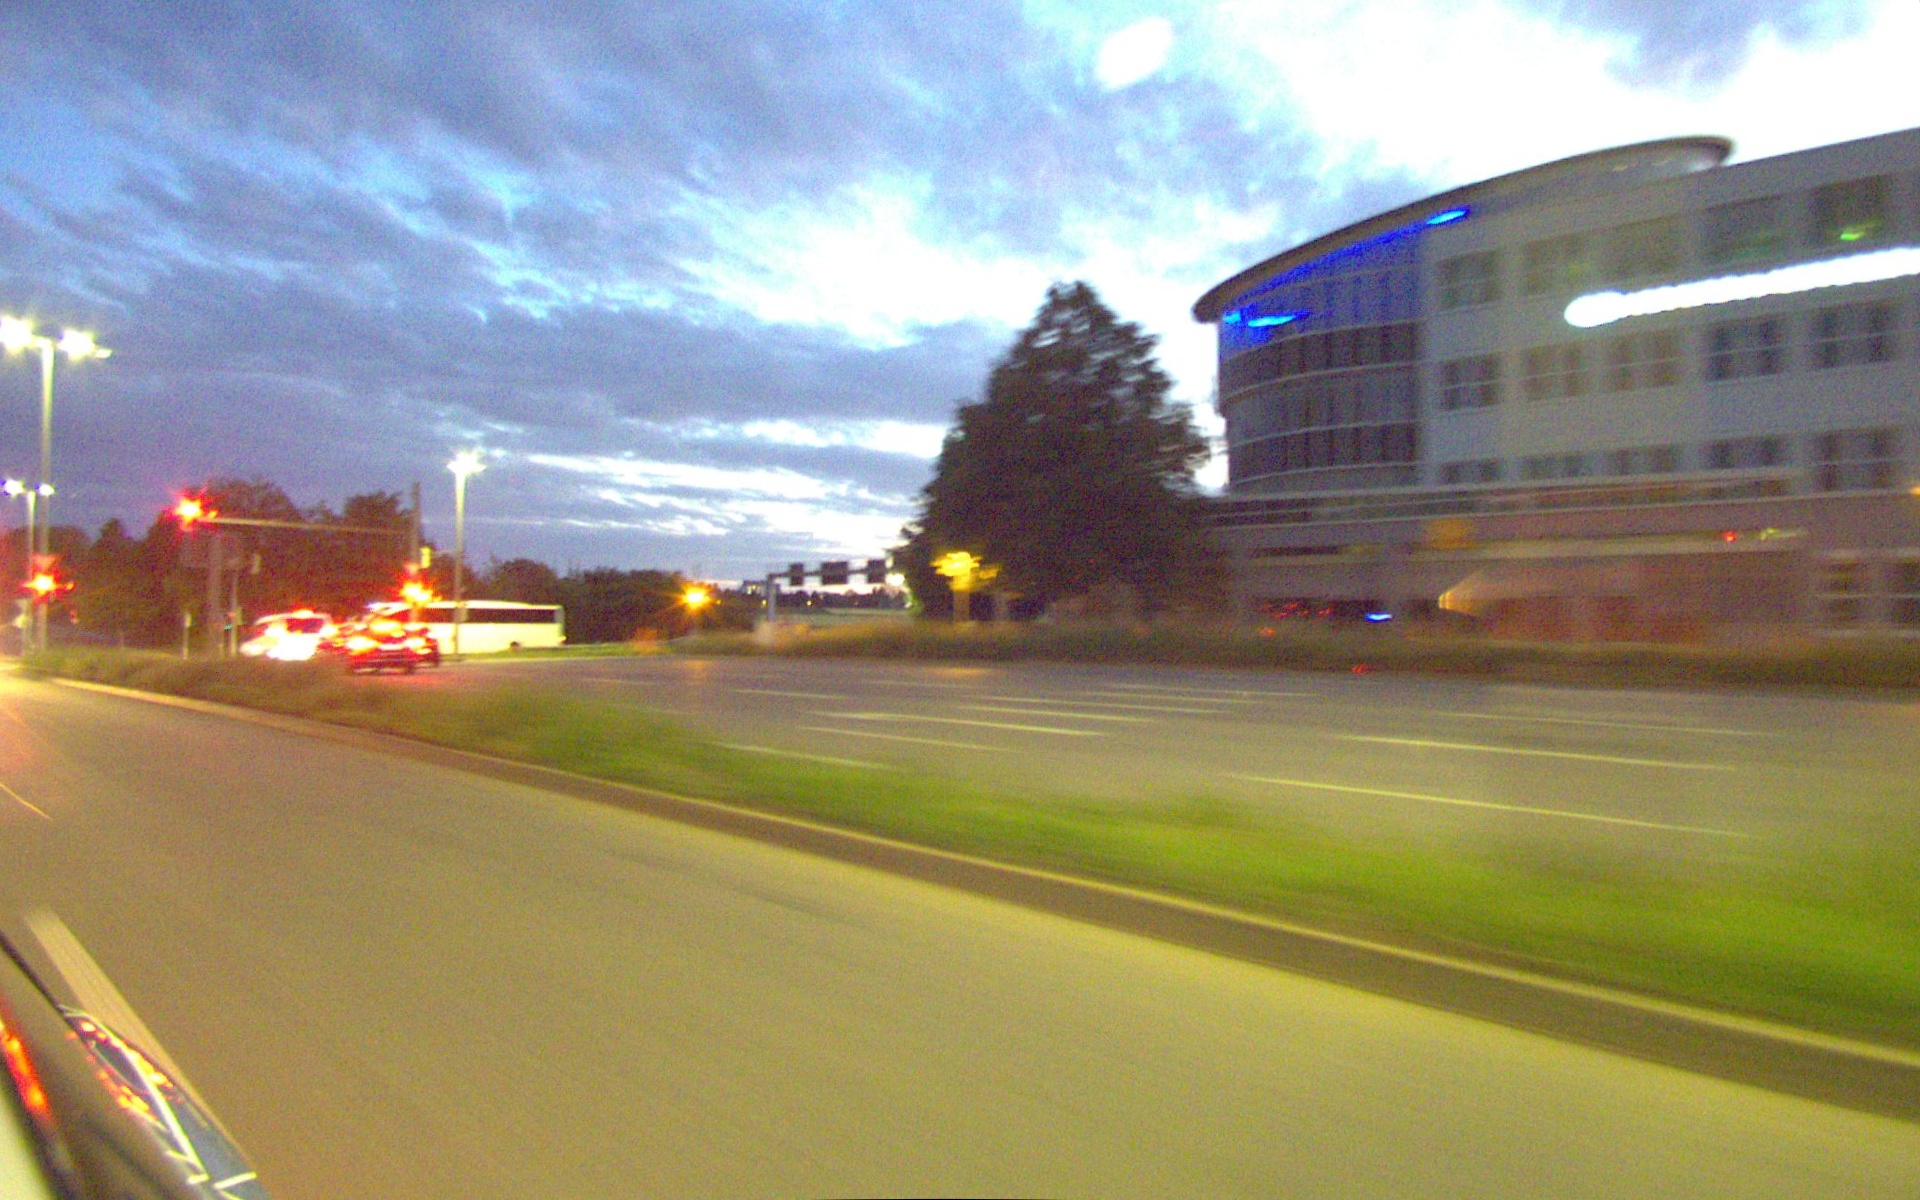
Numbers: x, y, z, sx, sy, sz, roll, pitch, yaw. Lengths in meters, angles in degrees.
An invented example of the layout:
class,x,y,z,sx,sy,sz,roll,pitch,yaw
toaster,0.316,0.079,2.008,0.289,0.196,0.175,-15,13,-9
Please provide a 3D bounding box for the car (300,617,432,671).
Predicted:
class,x,y,z,sx,sy,sz,roll,pitch,yaw
car,-16.751,1.222,28.440,4.837,1.408,1.851,-2,-3,42

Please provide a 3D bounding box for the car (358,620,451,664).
class,x,y,z,sx,sy,sz,roll,pitch,yaw
car,-19.323,1.461,35.167,3.781,1.458,1.749,-3,-3,43

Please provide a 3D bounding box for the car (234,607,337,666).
class,x,y,z,sx,sy,sz,roll,pitch,yaw
car,-22.545,1.244,33.746,4.775,1.828,1.823,-3,-4,43

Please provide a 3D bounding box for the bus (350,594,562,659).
class,x,y,z,sx,sy,sz,roll,pitch,yaw
bus,-32.094,1.712,65.177,2.615,3.819,12.104,-4,-4,42
